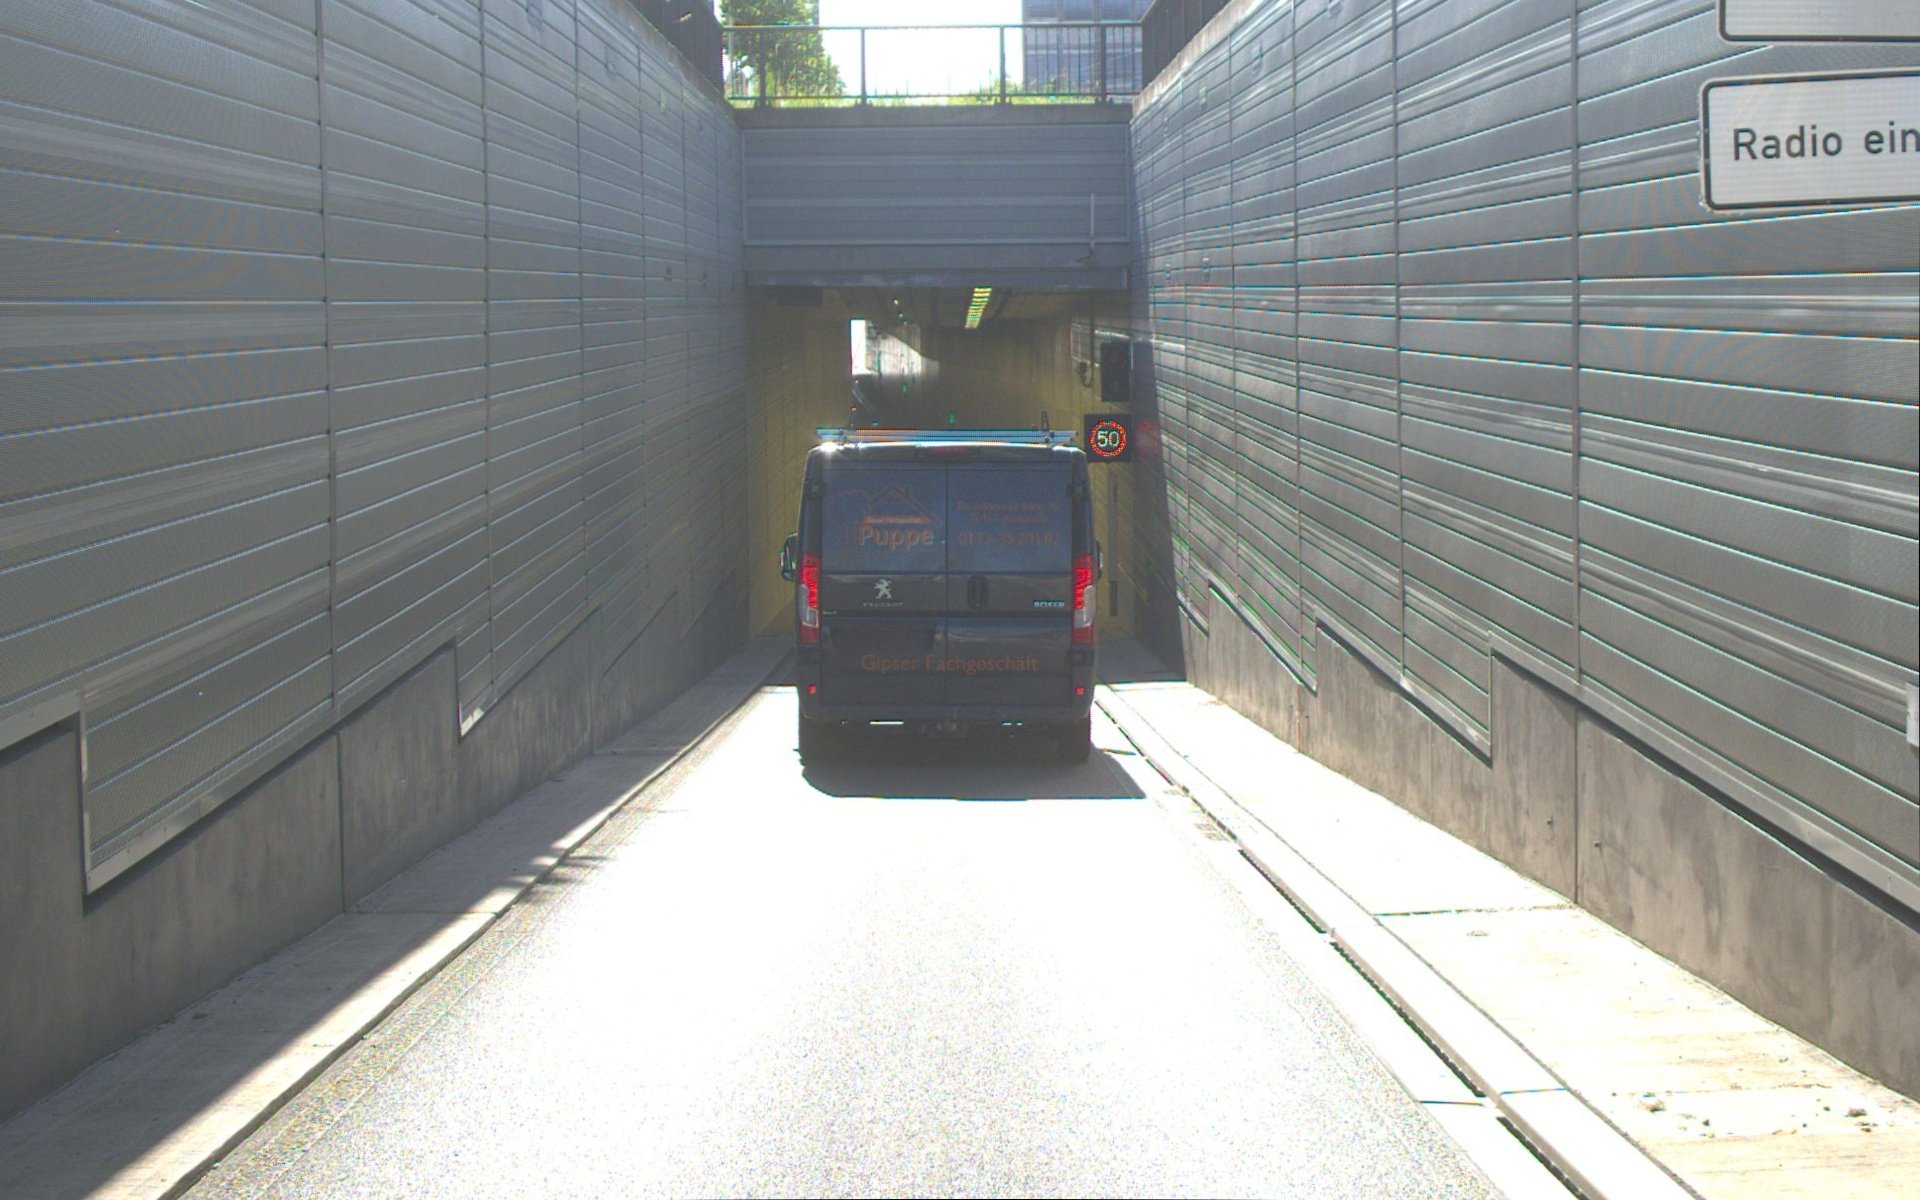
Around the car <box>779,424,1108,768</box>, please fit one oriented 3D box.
[{"bbox_3d":[-0.107,-0.088,25.017,2.158,2.258,4.637,0,1,0],"label":"car"}]
